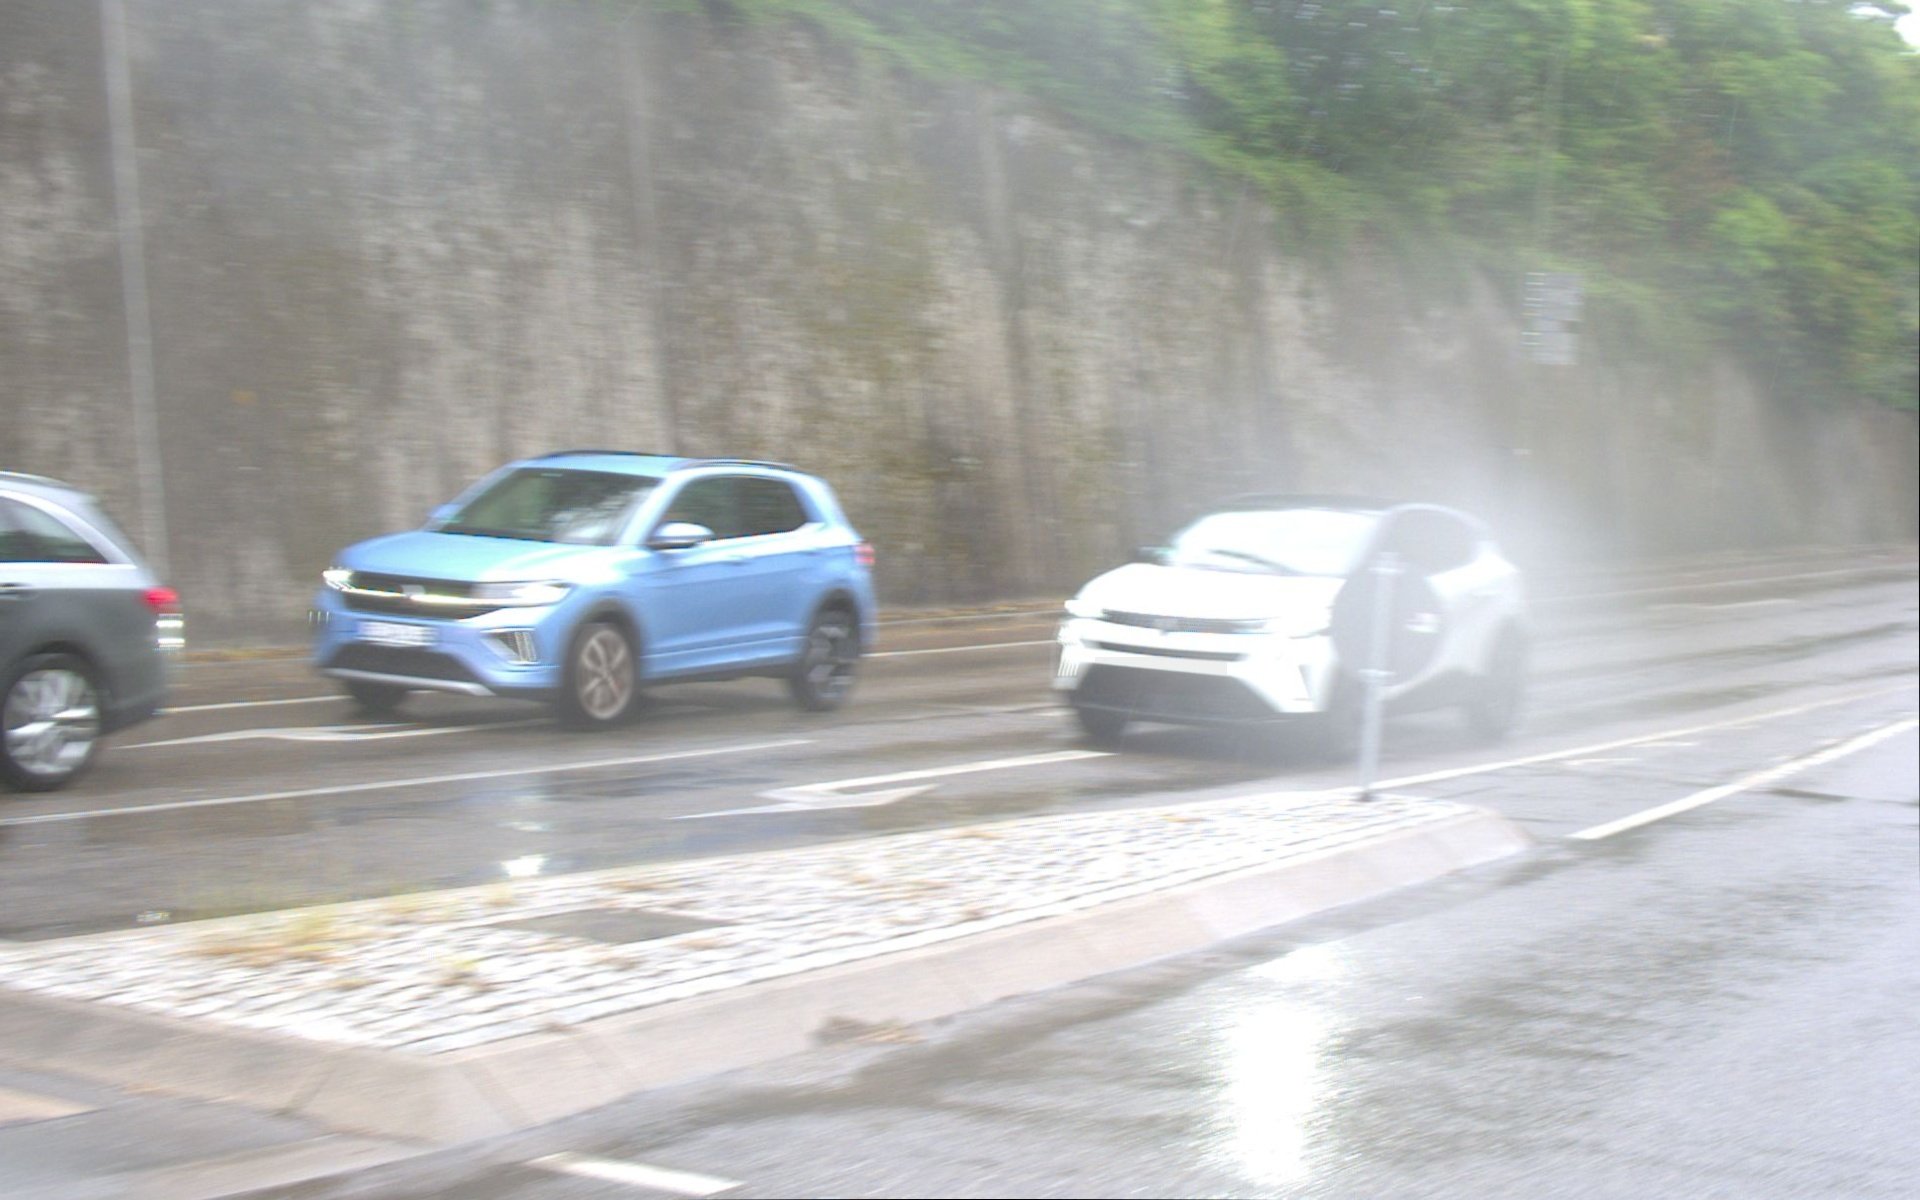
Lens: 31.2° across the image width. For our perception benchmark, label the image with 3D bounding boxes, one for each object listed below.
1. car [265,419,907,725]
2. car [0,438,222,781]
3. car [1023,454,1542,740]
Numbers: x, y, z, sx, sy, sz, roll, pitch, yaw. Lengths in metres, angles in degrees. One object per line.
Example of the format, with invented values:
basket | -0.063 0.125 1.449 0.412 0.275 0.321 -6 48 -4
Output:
car | -2.158 -0.191 20.944 1.818 1.652 4.043 2 2 30
car | -5.553 0.021 14.657 1.997 1.498 4.721 2 2 31
car | 2.133 -0.067 21.687 1.872 1.596 3.994 2 2 27
